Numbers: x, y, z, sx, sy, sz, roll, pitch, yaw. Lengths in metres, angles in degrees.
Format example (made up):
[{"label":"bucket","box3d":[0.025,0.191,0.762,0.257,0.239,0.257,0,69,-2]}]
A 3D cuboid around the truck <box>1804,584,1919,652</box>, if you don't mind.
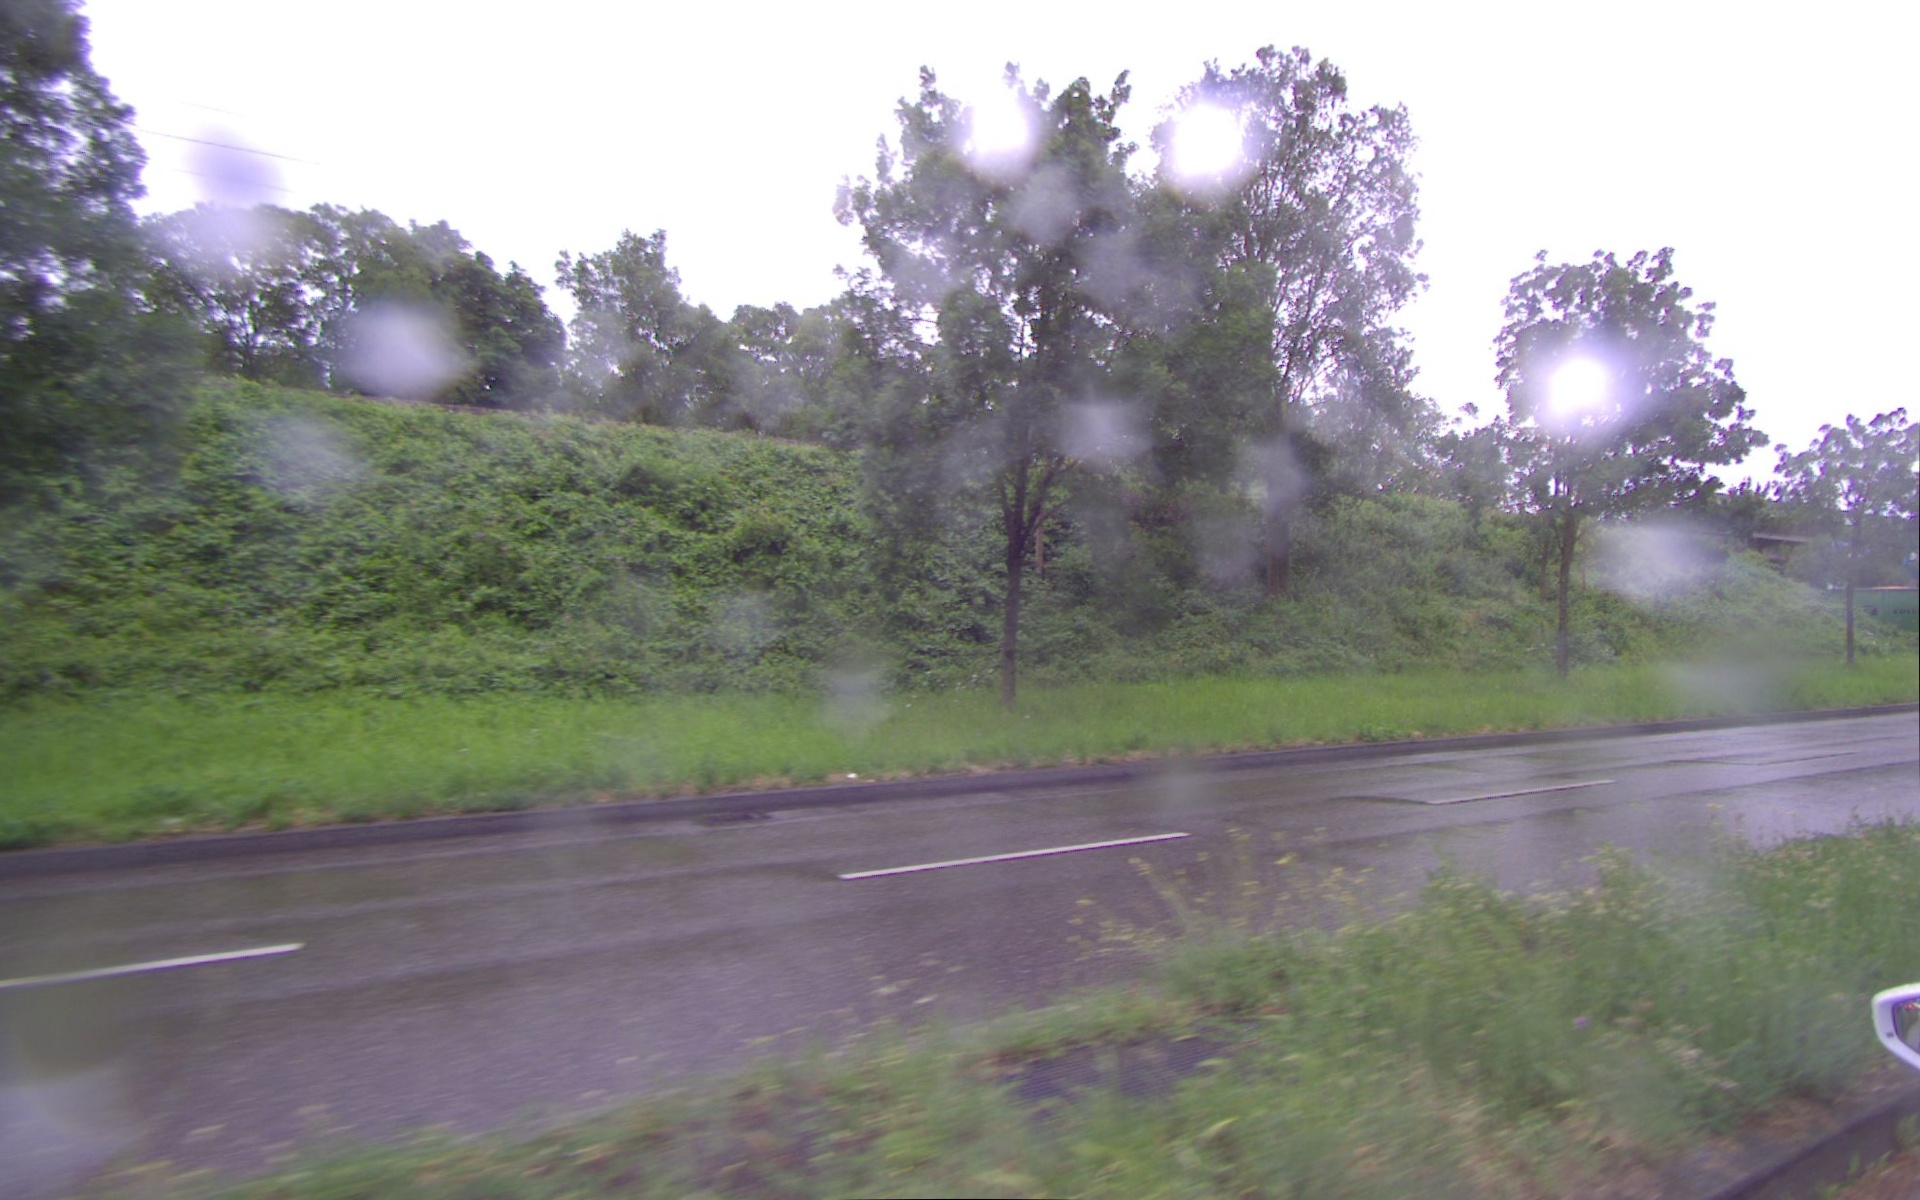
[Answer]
[{"label":"truck","box3d":[52.146,1.047,53.981,9.951,3.497,2.656,1,-1,26]}]
